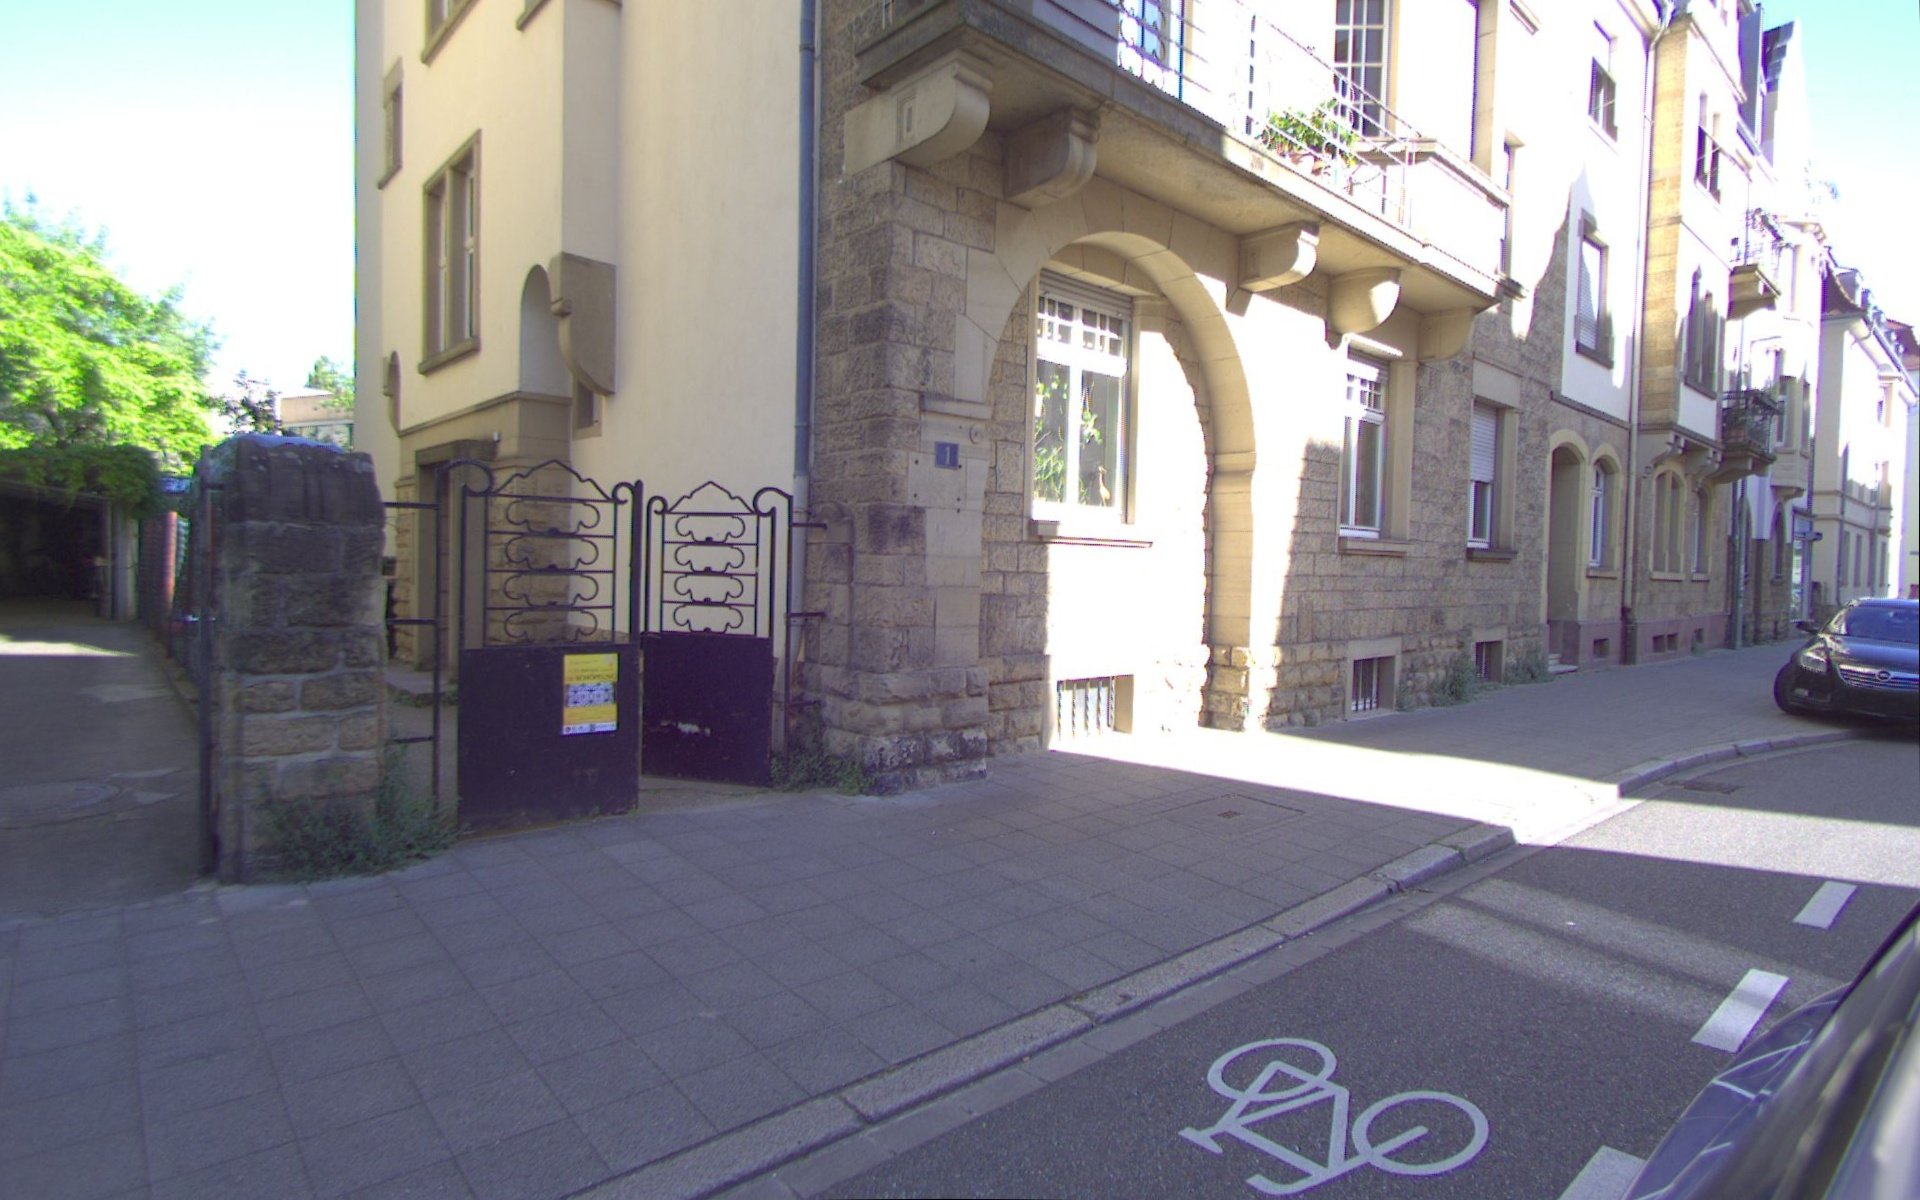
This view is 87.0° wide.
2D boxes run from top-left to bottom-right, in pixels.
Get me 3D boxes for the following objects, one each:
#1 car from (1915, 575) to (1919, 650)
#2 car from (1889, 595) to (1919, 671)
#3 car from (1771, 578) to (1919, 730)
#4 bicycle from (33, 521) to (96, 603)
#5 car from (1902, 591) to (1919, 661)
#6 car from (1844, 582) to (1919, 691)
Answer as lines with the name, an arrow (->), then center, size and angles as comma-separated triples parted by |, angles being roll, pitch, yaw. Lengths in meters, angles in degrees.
car -> 26.192, 0.334, 26.012 | 4.247, 1.860, 2.004 | -1, 4, -42
car -> 18.796, 0.616, 18.972 | 3.667, 1.295, 1.659 | -1, 4, -42
car -> 11.503, 0.567, 12.182 | 4.043, 1.526, 2.023 | -1, 5, -42
bicycle -> -18.300, -0.813, 20.724 | 0.903, 1.530, 2.672 | 0, 4, -41
car -> 22.173, 0.579, 22.194 | 4.247, 1.440, 1.823 | -1, 4, -42
car -> 15.533, 0.563, 15.868 | 4.247, 1.527, 2.004 | 0, 3, -42
